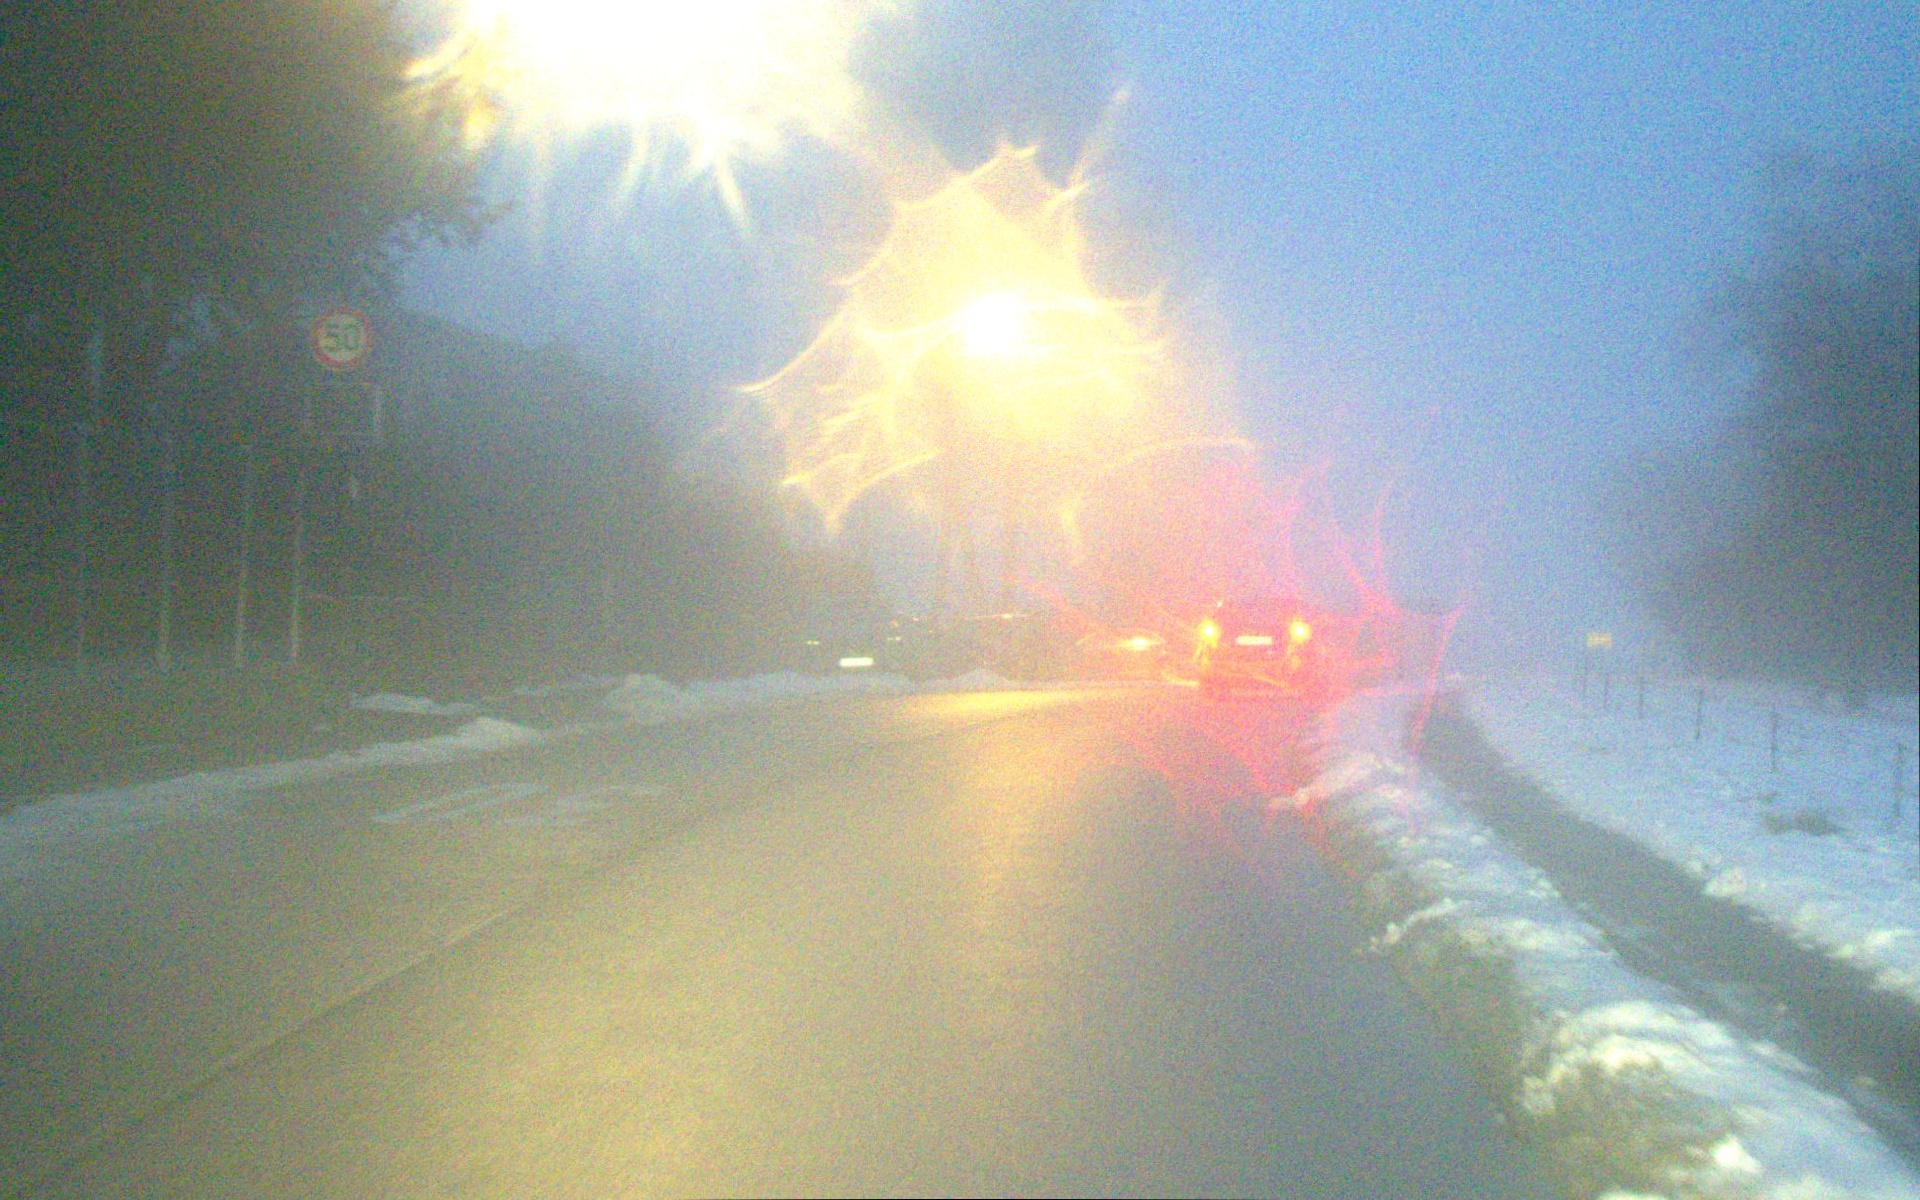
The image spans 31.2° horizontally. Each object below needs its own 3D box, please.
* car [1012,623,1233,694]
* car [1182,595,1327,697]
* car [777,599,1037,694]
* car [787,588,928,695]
[{"bbox_3d":[3.867,1.392,81.474,4.890,1.480,2.122,-2,-2,13],"label":"car"},{"bbox_3d":[4.384,0.659,50.728,1.994,1.415,3.999,0,0,7],"label":"car"},{"bbox_3d":[-0.941,0.861,62.937,4.528,1.561,2.110,-2,-2,5],"label":"car"},{"bbox_3d":[-1.760,0.731,57.222,1.993,1.561,4.997,-3,-2,-5],"label":"car"}]
